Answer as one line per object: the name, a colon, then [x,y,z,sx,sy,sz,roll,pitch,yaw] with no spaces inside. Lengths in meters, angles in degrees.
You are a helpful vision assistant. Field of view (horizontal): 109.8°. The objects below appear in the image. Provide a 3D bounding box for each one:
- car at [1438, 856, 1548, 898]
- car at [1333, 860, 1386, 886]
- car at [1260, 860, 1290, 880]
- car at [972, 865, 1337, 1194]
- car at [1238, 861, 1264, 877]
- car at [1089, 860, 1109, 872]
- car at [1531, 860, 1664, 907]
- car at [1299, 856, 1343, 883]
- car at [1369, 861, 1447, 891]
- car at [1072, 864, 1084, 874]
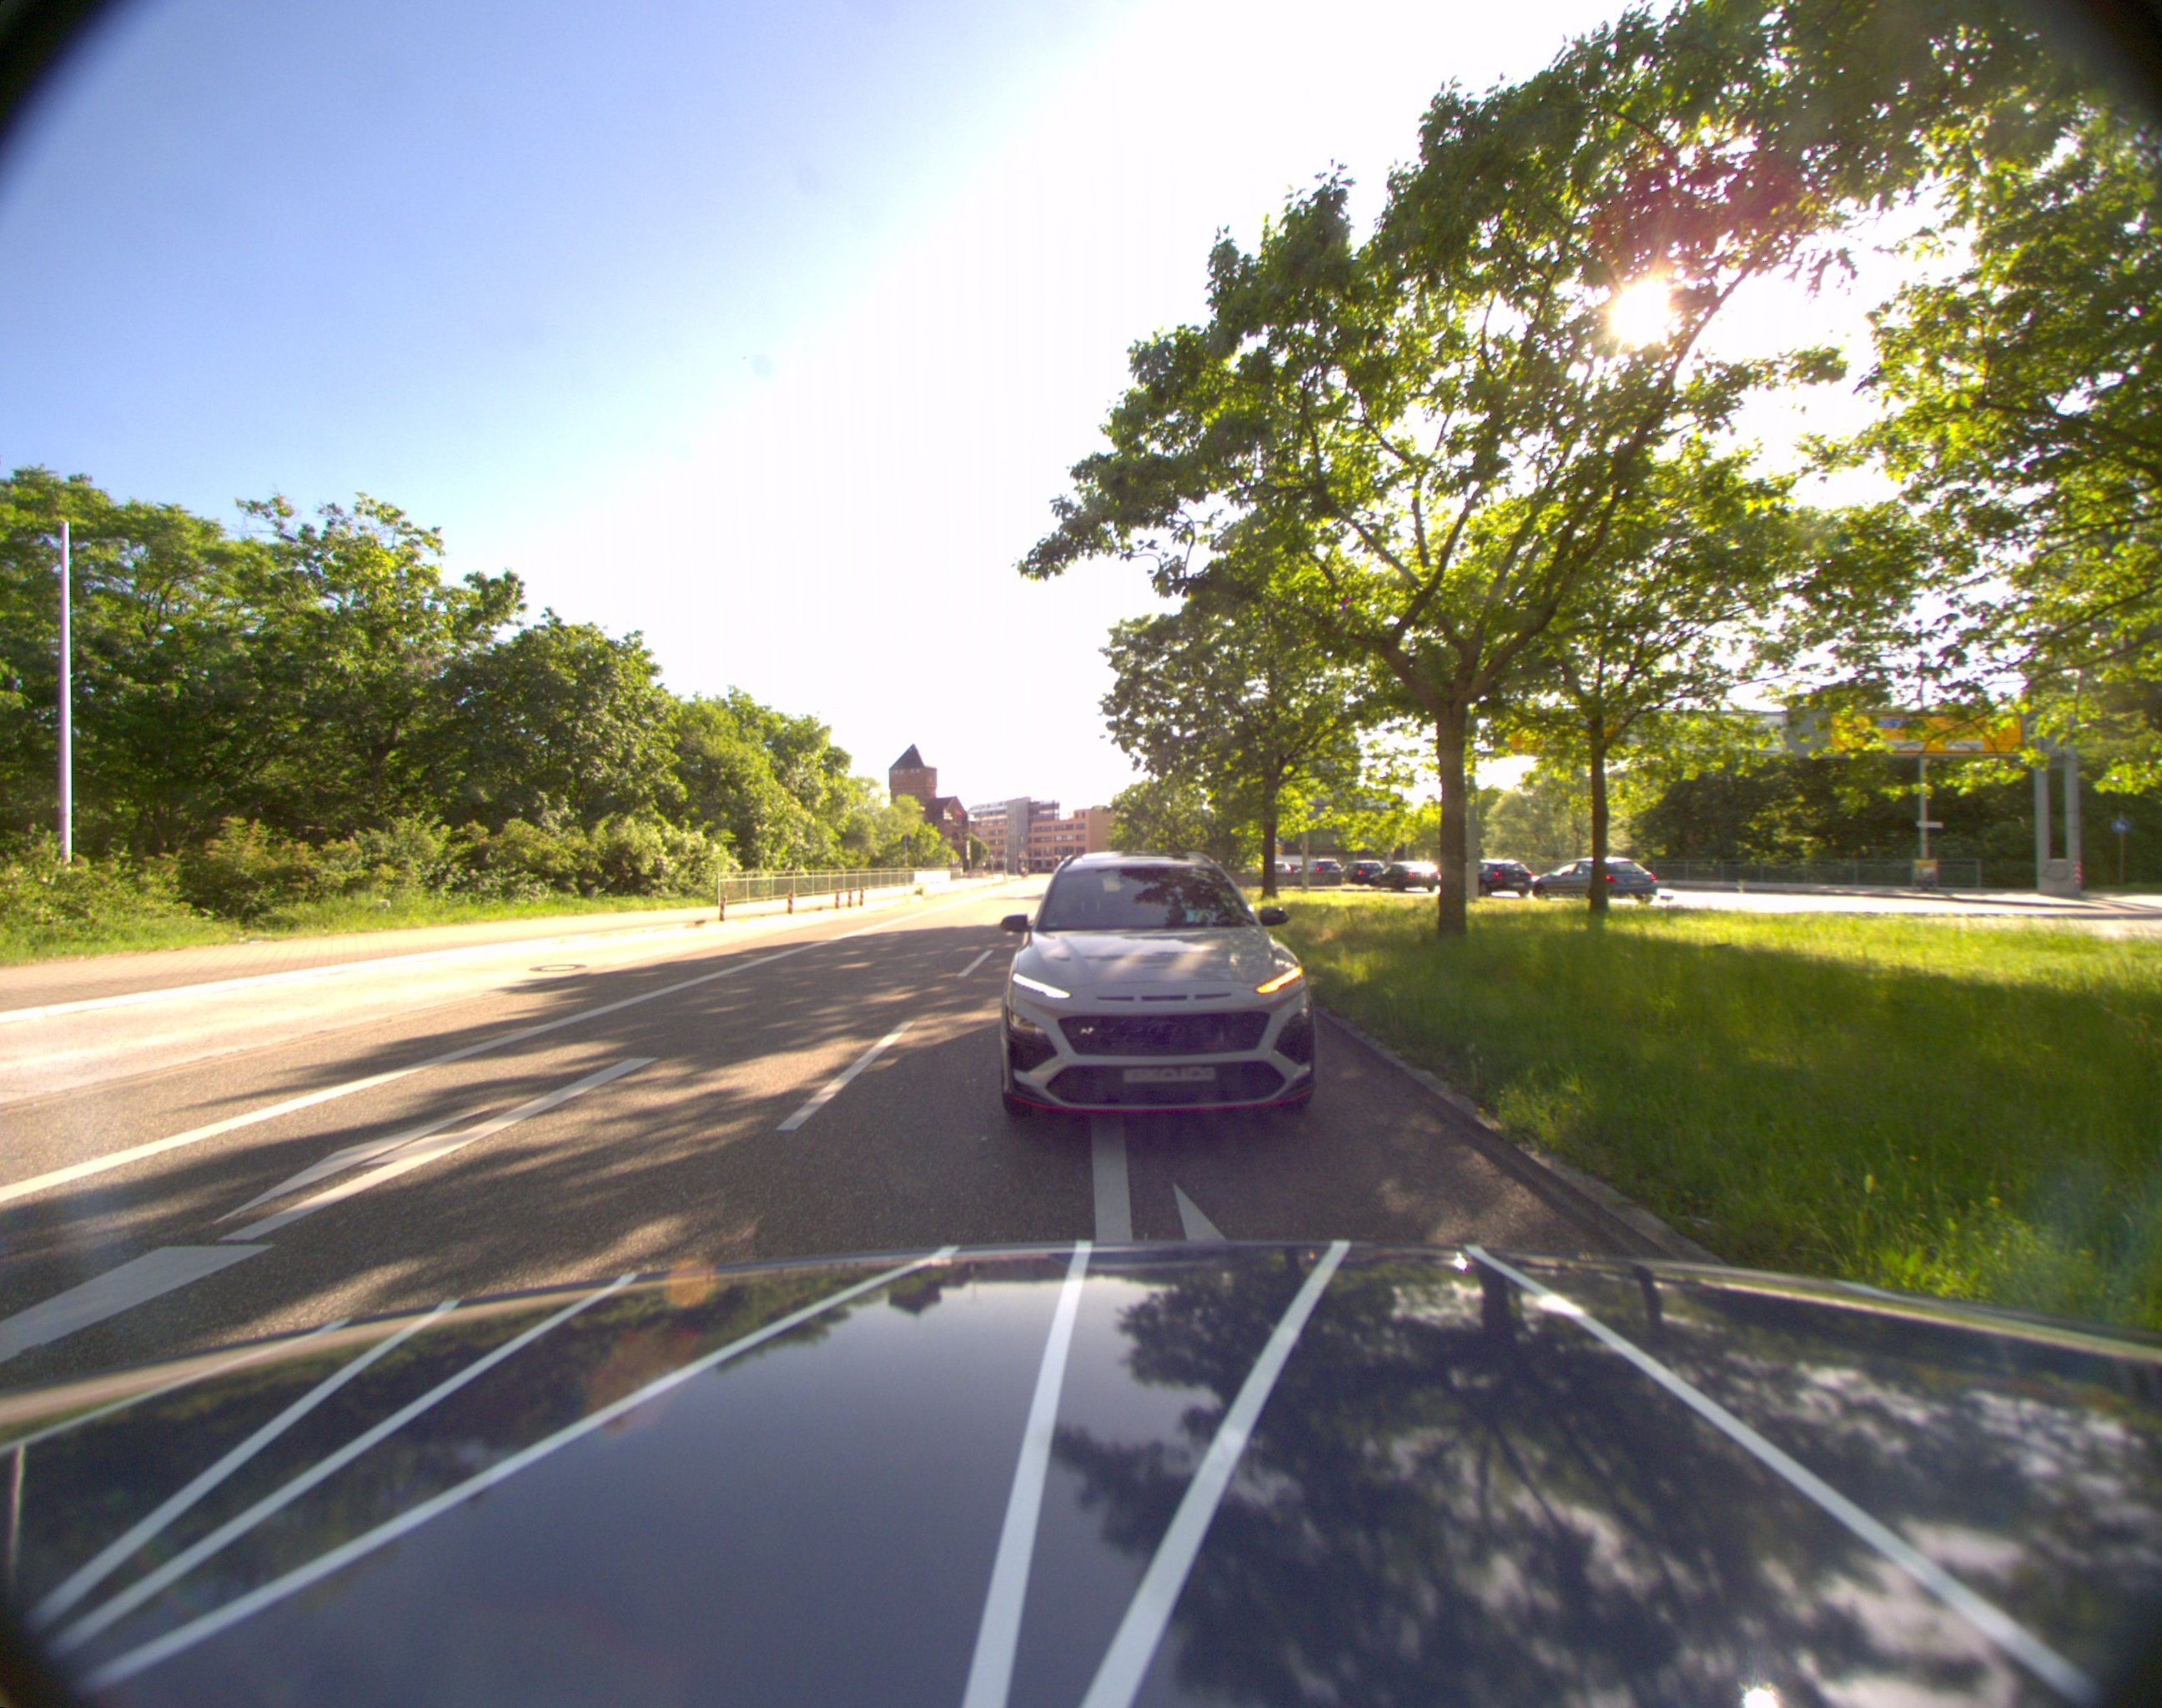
car: [16.183,0.850,30.148,1.875,1.541,4.221,-1,0,-4]
car: [15.146,1.038,41.477,1.481,1.331,3.202,-1,-1,-6]
car: [14.315,1.213,56.129,1.228,1.331,2.882,-1,-3,-6]
car: [0.385,0.885,5.686,1.752,1.523,3.988,-1,0,1]
car: [13.933,1.284,62.378,1.199,1.252,2.768,-1,-2,-6]
car: [3.003,2.026,127.636,1.956,2.002,4.006,-1,0,22]
car: [16.378,0.887,24.322,1.561,1.355,3.608,-1,-1,-6]
car: [14.965,0.997,47.548,1.450,1.549,3.202,-1,-2,-6]
car: [15.471,1.002,36.221,1.623,1.305,4.066,-1,0,-6]
car: [-0.399,2.284,115.258,1.677,1.463,4.151,-1,0,1]
